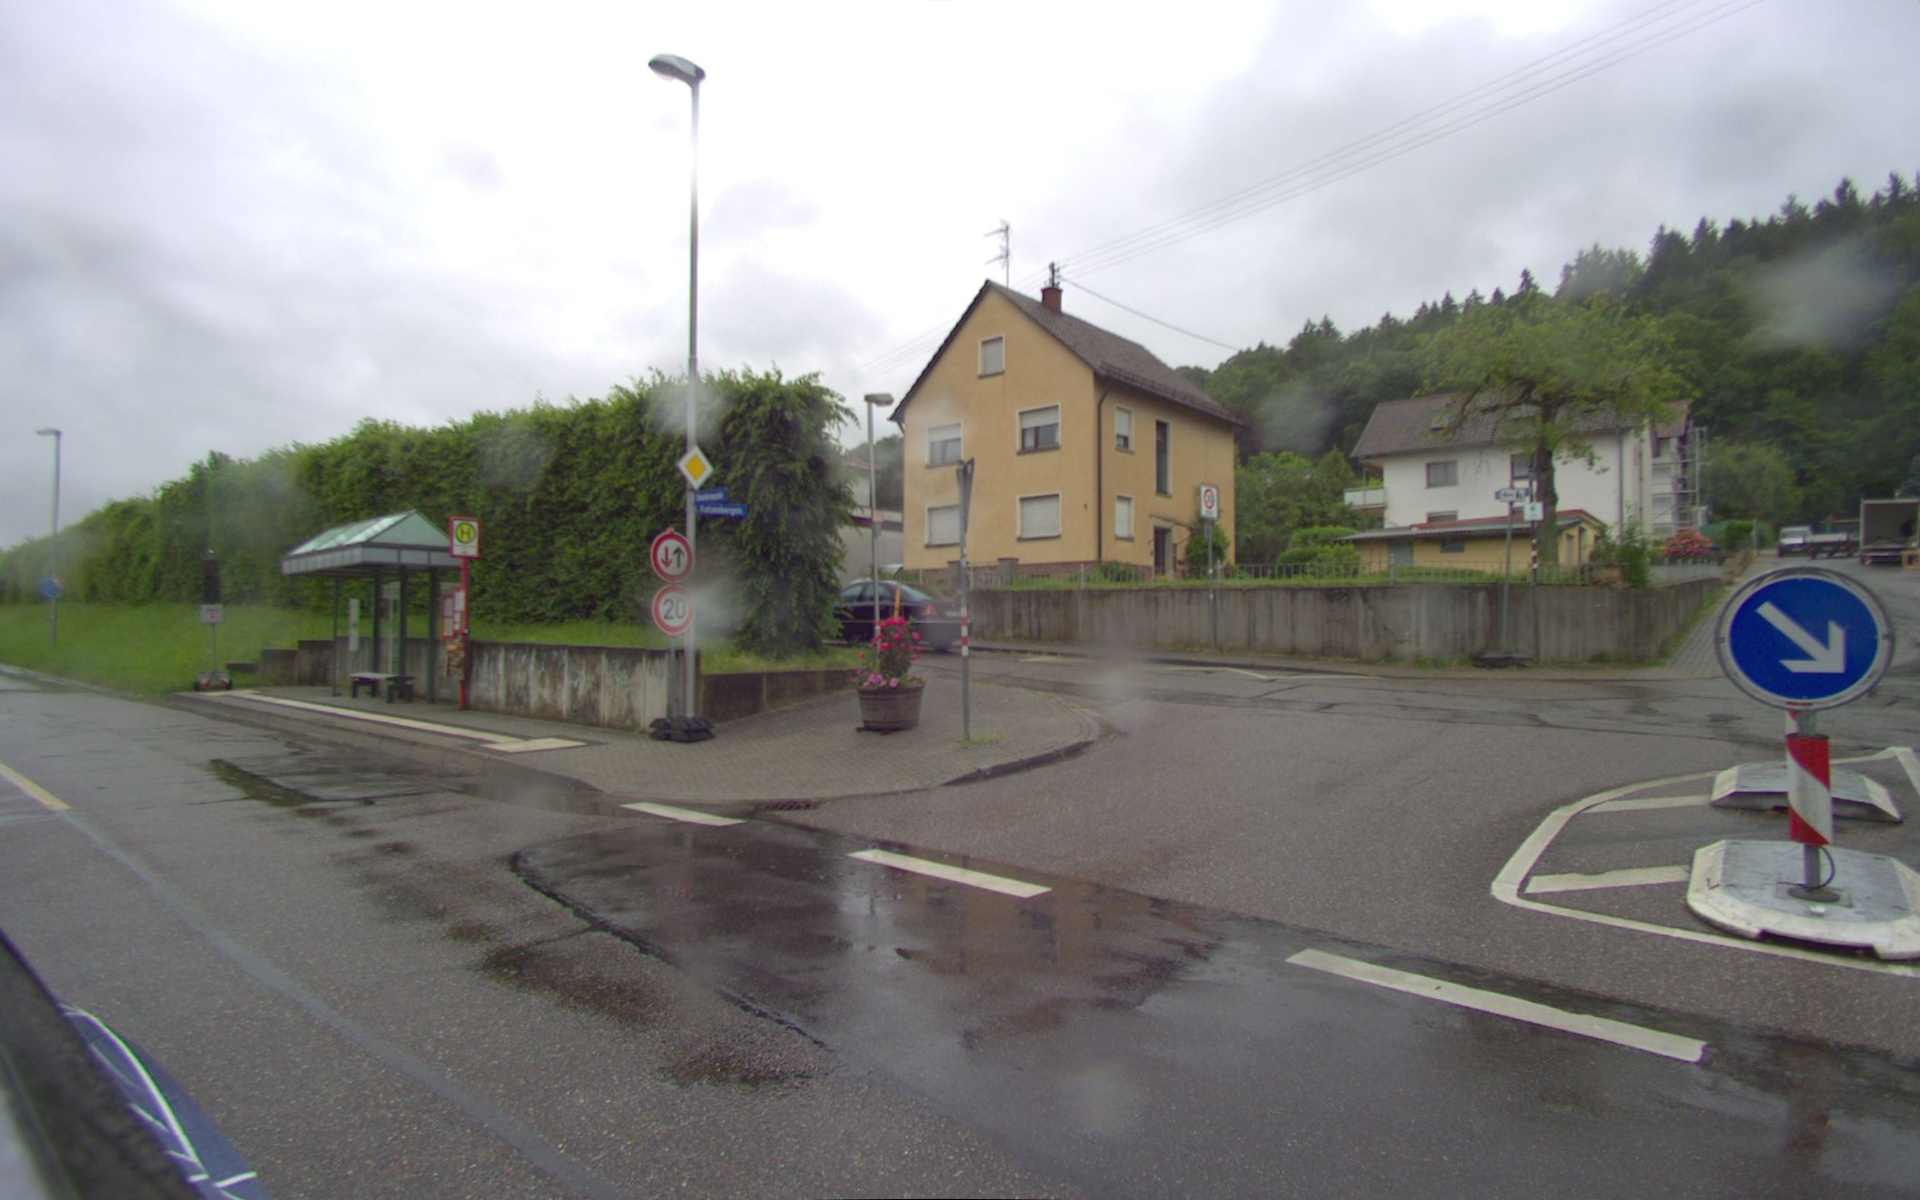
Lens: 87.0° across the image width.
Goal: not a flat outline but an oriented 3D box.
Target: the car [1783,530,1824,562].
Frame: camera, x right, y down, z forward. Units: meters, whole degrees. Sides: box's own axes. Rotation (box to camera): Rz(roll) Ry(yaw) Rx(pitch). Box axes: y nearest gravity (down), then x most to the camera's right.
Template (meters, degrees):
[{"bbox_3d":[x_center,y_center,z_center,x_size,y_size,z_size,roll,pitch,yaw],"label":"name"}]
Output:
[{"bbox_3d":[55.799,-3.541,67.004,1.913,2.028,3.950,0,2,37],"label":"car"}]

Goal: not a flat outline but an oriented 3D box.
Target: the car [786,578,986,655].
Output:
[{"bbox_3d":[-1.627,0.287,21.394,4.220,1.399,1.726,2,1,41],"label":"car"}]

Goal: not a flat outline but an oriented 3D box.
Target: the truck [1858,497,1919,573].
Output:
[{"bbox_3d":[45.157,-3.064,48.983,2.452,3.377,6.567,-1,1,41],"label":"truck"}]

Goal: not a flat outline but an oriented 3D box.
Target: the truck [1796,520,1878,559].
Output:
[{"bbox_3d":[52.679,-3.601,60.758,5.980,2.142,2.306,-2,1,-35],"label":"truck"}]
